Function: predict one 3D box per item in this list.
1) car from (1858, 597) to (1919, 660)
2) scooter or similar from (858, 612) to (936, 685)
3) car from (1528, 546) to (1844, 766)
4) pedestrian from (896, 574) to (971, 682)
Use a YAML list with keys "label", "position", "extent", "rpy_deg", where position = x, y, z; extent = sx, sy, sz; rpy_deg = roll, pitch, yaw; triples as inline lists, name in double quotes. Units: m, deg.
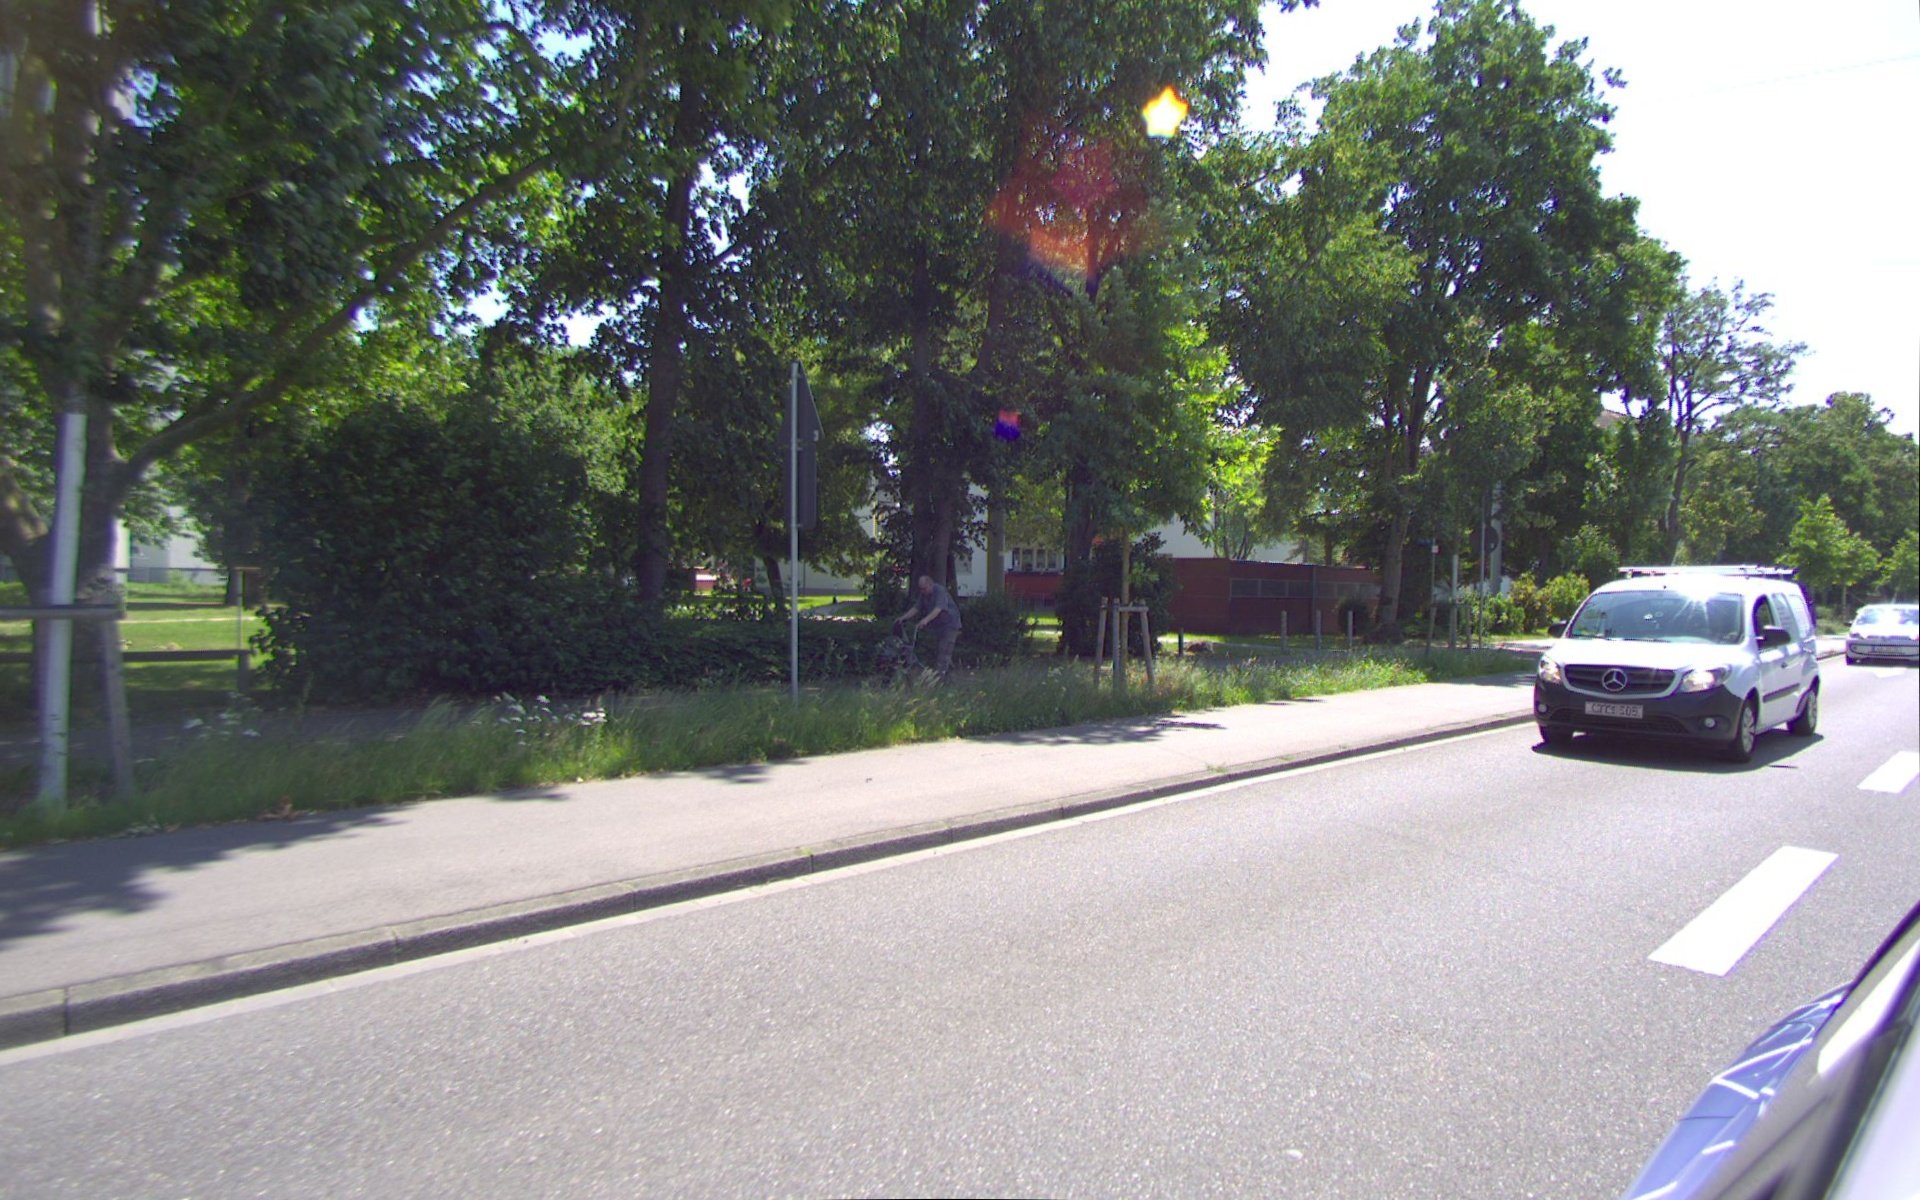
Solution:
- label: "car"
  position: [23.592, 0.670, 25.139]
  extent: [3.440, 1.459, 1.623]
  rpy_deg: [0, 0, -43]
- label: "scooter or similar"
  position: [-0.833, 0.620, 13.315]
  extent: [0.749, 0.904, 0.709]
  rpy_deg: [0, -1, -40]
- label: "car"
  position: [8.044, 0.478, 10.995]
  extent: [4.995, 1.879, 1.807]
  rpy_deg: [0, 0, -42]
- label: "pedestrian"
  position: [-0.361, 0.365, 13.728]
  extent: [0.749, 1.416, 0.709]
  rpy_deg: [1, -1, -40]
